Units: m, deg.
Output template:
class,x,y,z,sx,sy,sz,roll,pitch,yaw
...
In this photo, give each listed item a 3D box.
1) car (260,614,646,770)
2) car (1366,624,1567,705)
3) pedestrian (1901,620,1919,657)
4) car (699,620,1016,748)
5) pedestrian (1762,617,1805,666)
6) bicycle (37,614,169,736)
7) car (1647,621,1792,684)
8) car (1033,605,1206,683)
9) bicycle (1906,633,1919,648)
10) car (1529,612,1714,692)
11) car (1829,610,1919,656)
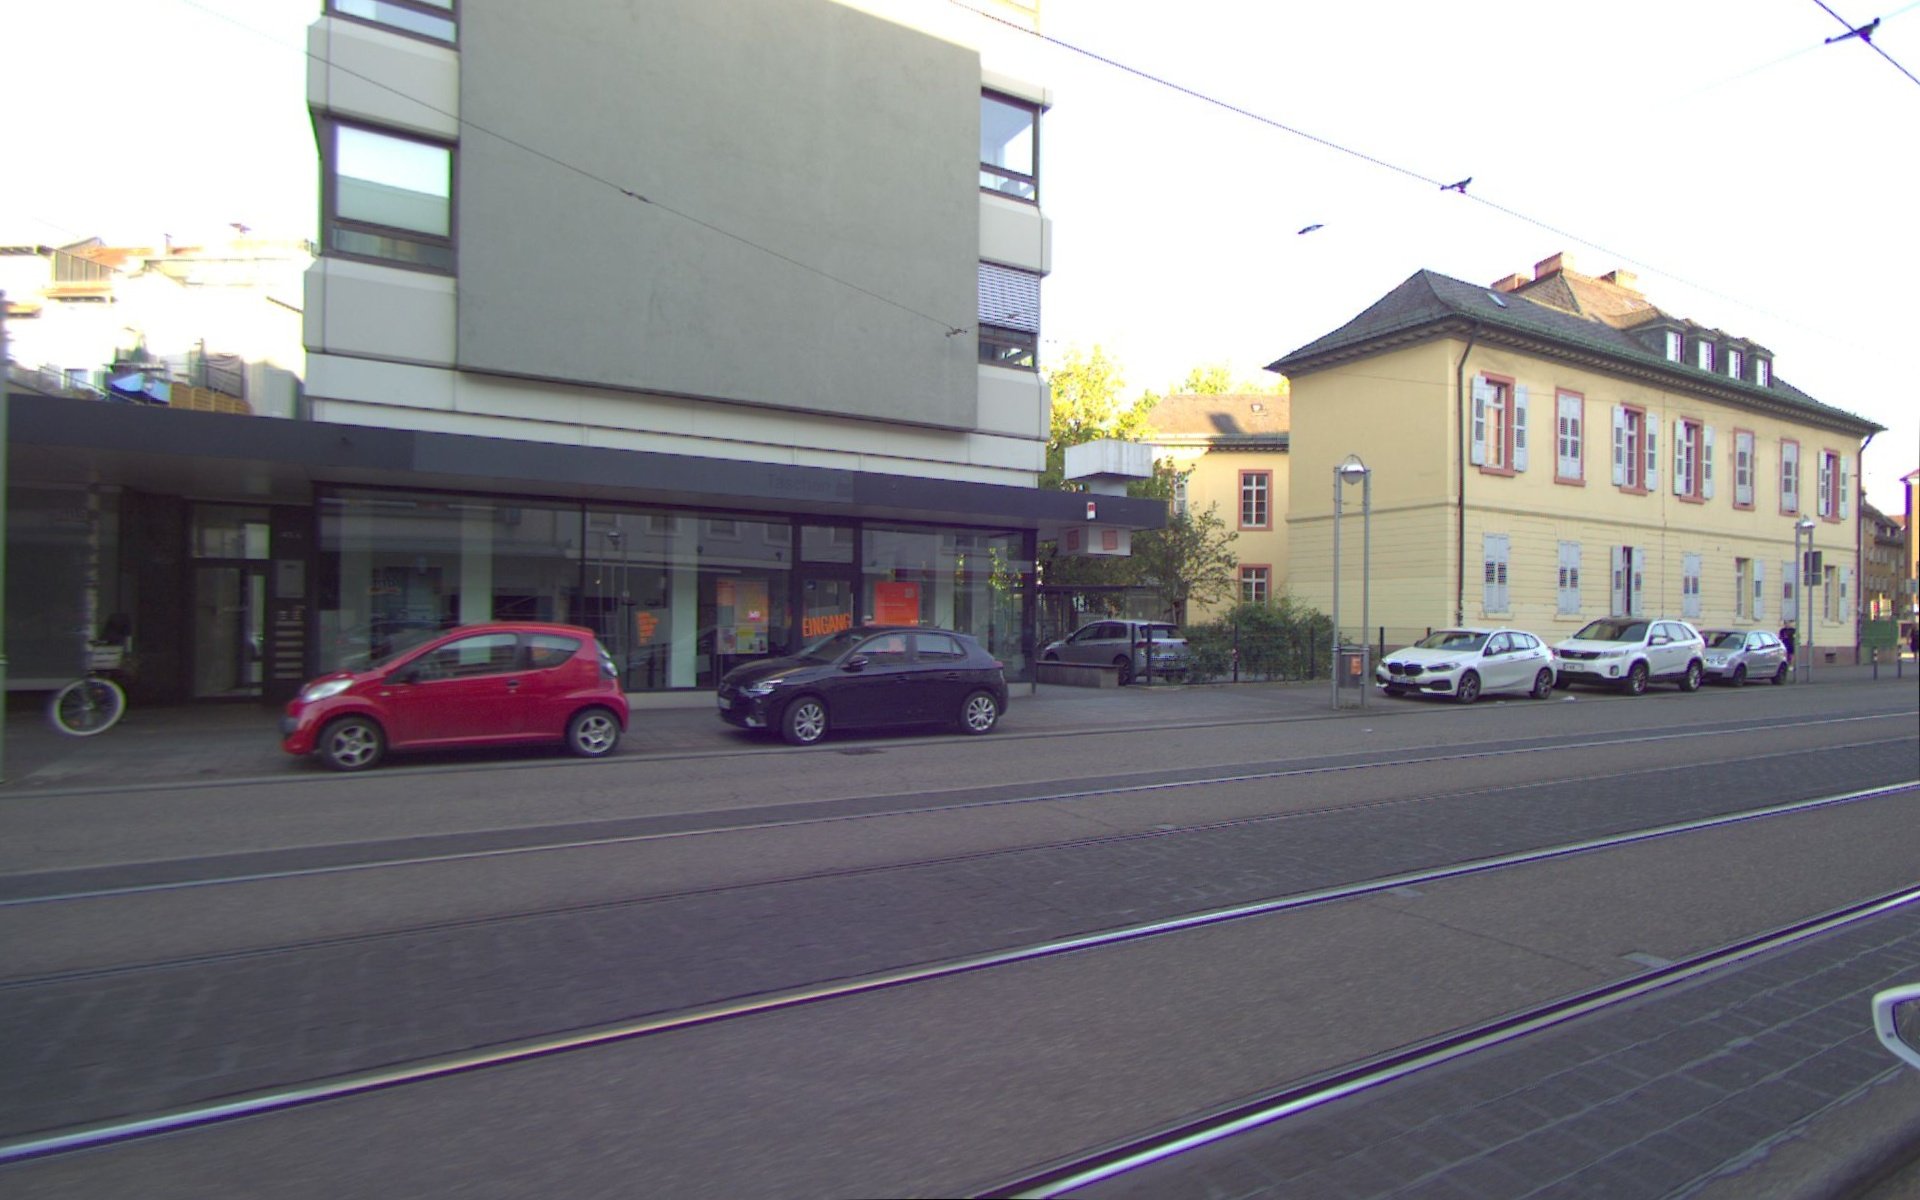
class,x,y,z,sx,sy,sz,roll,pitch,yaw
car,-5.487,0.910,11.126,3.550,1.453,1.683,1,-1,-31
car,10.520,1.267,20.806,4.234,1.472,1.712,1,1,-31
pedestrian,39.758,1.599,41.795,0.712,1.556,0.715,1,-1,-34
car,-1.350,1.039,13.611,3.919,1.444,1.683,1,1,-30
pedestrian,27.459,1.386,33.512,0.866,1.562,0.796,1,1,-28
bicycle,-10.814,0.895,12.758,0.865,1.358,2.037,1,1,-29
car,20.360,1.356,26.903,3.953,1.494,1.739,1,1,-31
car,3.674,0.977,23.742,1.893,1.574,3.965,2,0,-32
bicycle,70.454,2.991,72.842,2.609,1.114,0.433,2,1,41
car,15.701,1.172,23.778,4.709,1.683,1.876,1,1,-32
car,42.077,1.477,45.541,3.946,2.040,1.988,-1,-1,44
